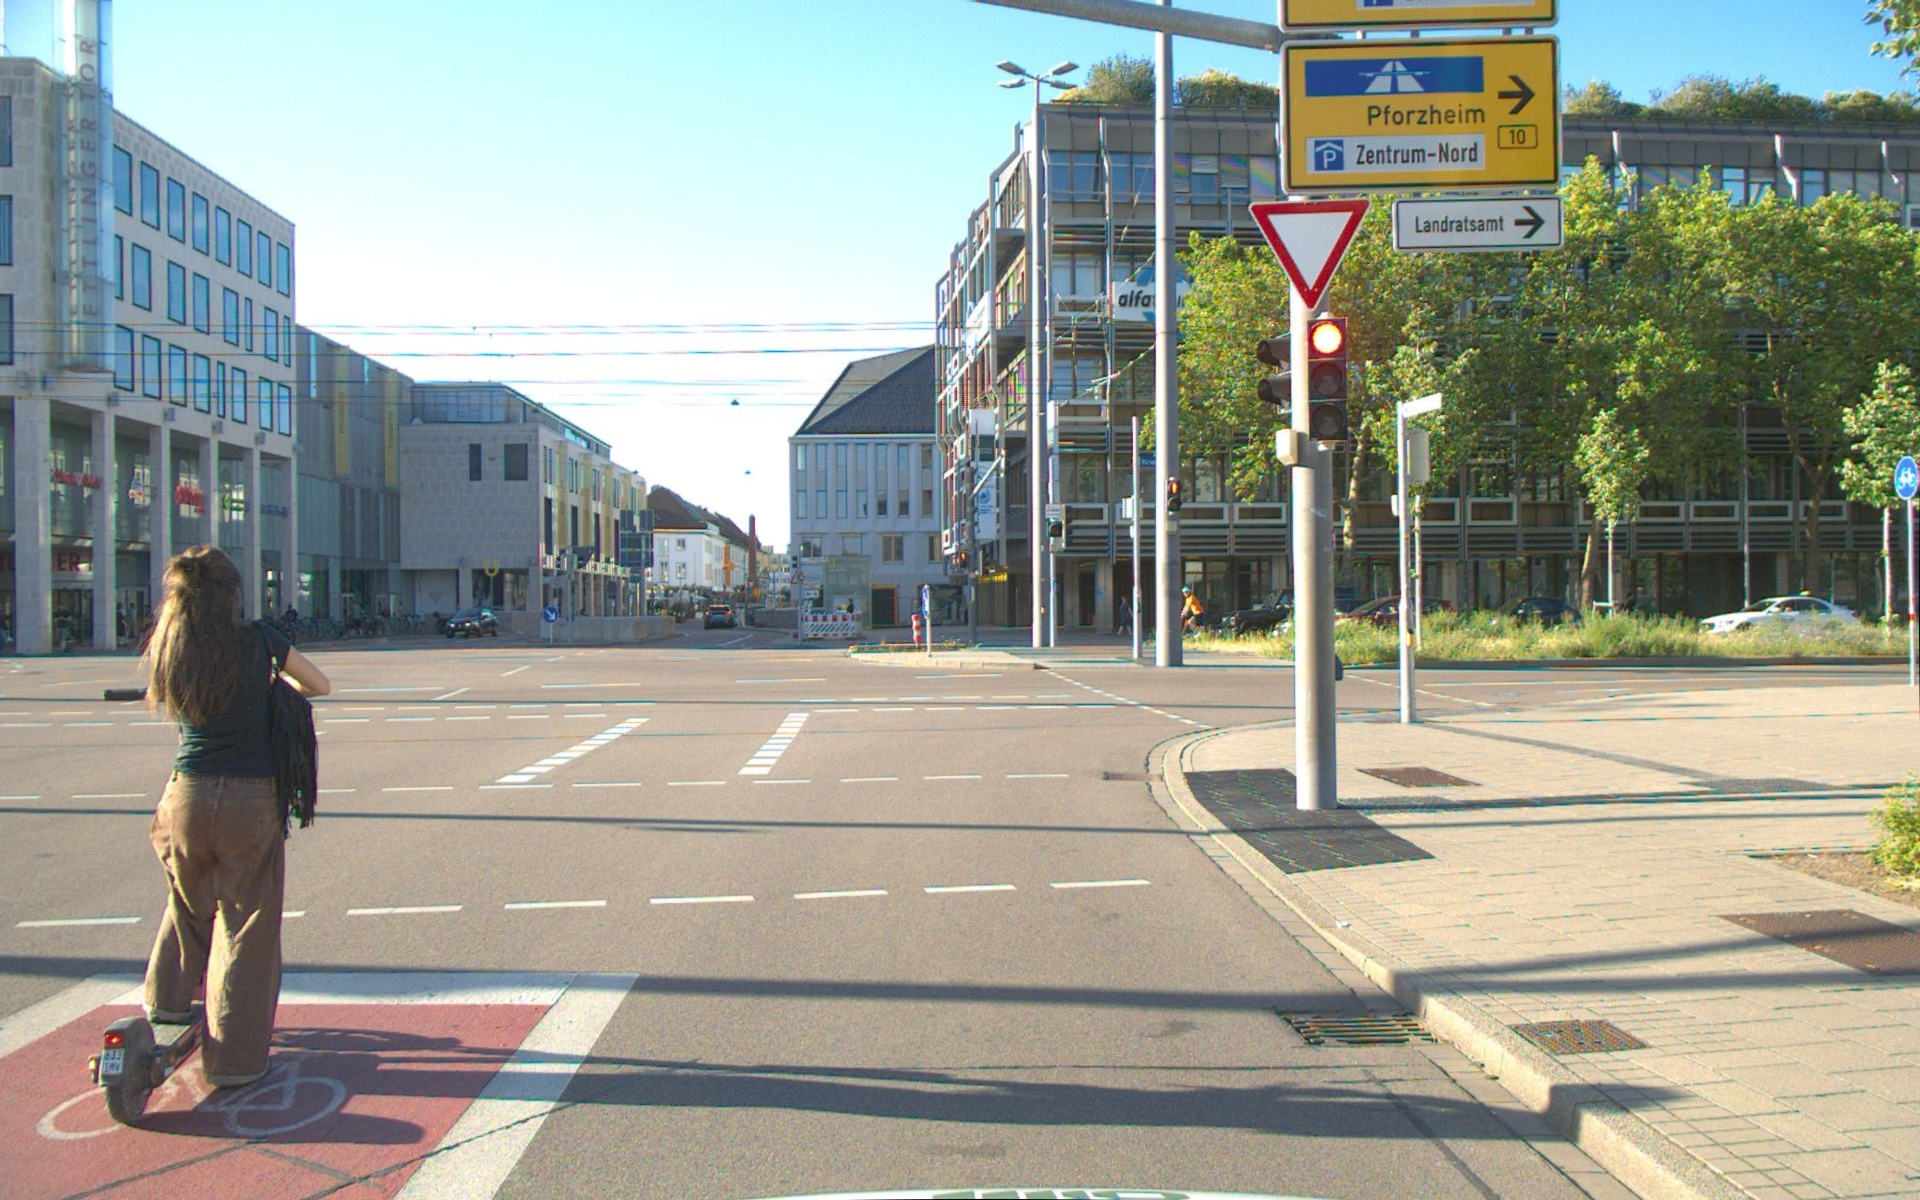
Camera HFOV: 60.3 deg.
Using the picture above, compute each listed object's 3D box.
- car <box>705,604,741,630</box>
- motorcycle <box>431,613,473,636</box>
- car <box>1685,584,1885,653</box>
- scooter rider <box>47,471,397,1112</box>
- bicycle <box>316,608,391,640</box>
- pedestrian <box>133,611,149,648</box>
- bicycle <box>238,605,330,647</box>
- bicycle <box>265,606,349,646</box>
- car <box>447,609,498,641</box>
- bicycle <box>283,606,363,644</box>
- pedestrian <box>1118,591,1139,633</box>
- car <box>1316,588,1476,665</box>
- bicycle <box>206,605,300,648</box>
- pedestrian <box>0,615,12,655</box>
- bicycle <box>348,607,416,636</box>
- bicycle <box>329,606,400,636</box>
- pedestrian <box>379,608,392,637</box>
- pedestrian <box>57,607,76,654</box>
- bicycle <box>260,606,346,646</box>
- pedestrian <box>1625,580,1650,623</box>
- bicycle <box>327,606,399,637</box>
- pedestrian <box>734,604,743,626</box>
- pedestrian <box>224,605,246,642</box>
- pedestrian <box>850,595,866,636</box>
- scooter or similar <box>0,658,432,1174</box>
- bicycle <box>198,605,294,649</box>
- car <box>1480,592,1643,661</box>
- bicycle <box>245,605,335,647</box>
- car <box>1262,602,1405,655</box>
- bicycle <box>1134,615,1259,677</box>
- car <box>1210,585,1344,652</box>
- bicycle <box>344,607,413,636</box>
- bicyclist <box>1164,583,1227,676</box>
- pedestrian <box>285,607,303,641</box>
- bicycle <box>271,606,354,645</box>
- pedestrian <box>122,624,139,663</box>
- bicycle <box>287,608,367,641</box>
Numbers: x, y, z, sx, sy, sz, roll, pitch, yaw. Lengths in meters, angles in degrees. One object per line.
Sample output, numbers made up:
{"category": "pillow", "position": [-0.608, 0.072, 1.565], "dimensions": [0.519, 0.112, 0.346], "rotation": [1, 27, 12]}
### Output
{"category": "car", "position": [-15.498, 1.097, 108.156], "dimensions": [2.157, 1.635, 4.320], "rotation": [-1, 0, -6]}
{"category": "motorcycle", "position": [-29.956, 1.435, 97.587], "dimensions": [2.230, 1.341, 0.719], "rotation": [-1, 0, -6]}
{"category": "car", "position": [26.171, 0.579, 52.569], "dimensions": [5.332, 2.049, 2.096], "rotation": [1, 0, -3]}
{"category": "scooter rider", "position": [-2.220, 0.539, 5.075], "dimensions": [0.713, 1.806, 0.811], "rotation": [0, 0, -1]}
{"category": "bicycle", "position": [-30.886, 1.211, 84.259], "dimensions": [3.430, 1.554, 0.984], "rotation": [-1, 0, -12]}
{"category": "pedestrian", "position": [-34.720, 1.261, 70.116], "dimensions": [0.472, 1.537, 0.513], "rotation": [-1, 0, -5]}
{"category": "bicycle", "position": [-28.869, 1.086, 70.705], "dimensions": [3.427, 1.726, 1.114], "rotation": [-1, 0, -10]}
{"category": "bicycle", "position": [-29.799, 1.176, 75.574], "dimensions": [3.430, 1.726, 0.984], "rotation": [-1, 0, -12]}
{"category": "car", "position": [-24.273, 1.214, 82.416], "dimensions": [1.957, 1.512, 3.991], "rotation": [-1, 0, -10]}
{"category": "bicycle", "position": [-30.338, 1.187, 78.859], "dimensions": [3.430, 1.726, 0.984], "rotation": [-1, 0, -12]}
{"category": "pedestrian", "position": [6.727, 0.481, 66.036], "dimensions": [0.715, 1.687, 0.649], "rotation": [-1, 0, -8]}
{"category": "car", "position": [12.230, 0.733, 46.571], "dimensions": [3.908, 2.049, 1.999], "rotation": [1, 0, -3]}
{"category": "bicycle", "position": [-29.552, 1.090, 69.197], "dimensions": [3.427, 1.726, 1.114], "rotation": [-1, 0, -10]}
{"category": "pedestrian", "position": [-35.349, 1.294, 61.281], "dimensions": [0.383, 1.437, 0.433], "rotation": [-1, 0, -33]}
{"category": "bicycle", "position": [-31.949, 1.197, 91.417], "dimensions": [3.430, 1.554, 0.984], "rotation": [-1, 0, -12]}
{"category": "bicycle", "position": [-31.390, 1.107, 87.237], "dimensions": [3.430, 1.554, 0.984], "rotation": [-1, 0, -12]}
{"category": "pedestrian", "position": [-34.065, 1.340, 98.076], "dimensions": [0.685, 1.671, 0.692], "rotation": [-1, 0, -15]}
{"category": "pedestrian", "position": [-32.482, 1.112, 60.122], "dimensions": [0.535, 1.671, 0.544], "rotation": [-1, 0, -33]}
{"category": "bicycle", "position": [-29.575, 1.167, 74.486], "dimensions": [3.430, 1.726, 0.984], "rotation": [-1, 0, -12]}
{"category": "pedestrian", "position": [27.048, 0.053, 66.015], "dimensions": [0.651, 1.687, 0.740], "rotation": [-1, 0, -8]}
{"category": "bicycle", "position": [-31.074, 1.119, 86.120], "dimensions": [3.430, 1.554, 0.984], "rotation": [-1, 0, -12]}
{"category": "pedestrian", "position": [-14.429, 0.979, 107.687], "dimensions": [0.598, 1.436, 0.569], "rotation": [-1, 0, -7]}
{"category": "pedestrian", "position": [-32.995, 1.053, 75.282], "dimensions": [0.770, 1.671, 0.693], "rotation": [-1, 0, -12]}
{"category": "pedestrian", "position": [-4.271, 0.637, 69.140], "dimensions": [0.650, 1.687, 0.755], "rotation": [-1, 0, -4]}
{"category": "scooter or similar", "position": [-2.201, 0.818, 4.966], "dimensions": [0.713, 1.223, 1.664], "rotation": [0, 0, -1]}
{"category": "bicycle", "position": [-29.323, 1.112, 68.025], "dimensions": [3.427, 1.726, 1.114], "rotation": [-1, 0, -10]}
{"category": "car", "position": [18.826, 0.821, 51.873], "dimensions": [4.359, 2.049, 1.998], "rotation": [1, 0, -6]}
{"category": "bicycle", "position": [-29.100, 1.122, 71.917], "dimensions": [3.427, 1.726, 1.114], "rotation": [-1, 0, -10]}
{"category": "car", "position": [11.438, 0.864, 50.809], "dimensions": [3.908, 1.534, 1.867], "rotation": [1, 0, -4]}
{"category": "bicycle", "position": [6.747, 1.301, 47.216], "dimensions": [3.427, 1.688, 0.929], "rotation": [-1, 0, -10]}
{"category": "car", "position": [10.303, 0.598, 53.912], "dimensions": [3.908, 2.049, 1.999], "rotation": [1, 0, -3]}
{"category": "bicycle", "position": [-31.785, 1.167, 90.393], "dimensions": [3.430, 1.554, 0.984], "rotation": [-1, 0, -12]}
{"category": "bicyclist", "position": [6.717, 0.832, 47.216], "dimensions": [1.539, 2.625, 0.930], "rotation": [-1, 0, -10]}
{"category": "pedestrian", "position": [-33.191, 1.183, 82.424], "dimensions": [0.641, 1.671, 0.693], "rotation": [-1, 0, -9]}
{"category": "bicycle", "position": [-30.040, 1.178, 76.774], "dimensions": [3.430, 1.726, 0.984], "rotation": [-1, 0, -12]}
{"category": "pedestrian", "position": [-34.873, 1.818, 69.534], "dimensions": [0.472, 1.613, 0.513], "rotation": [-1, 0, -5]}
{"category": "bicycle", "position": [-30.543, 1.170, 79.849], "dimensions": [3.430, 1.554, 0.984], "rotation": [-1, 0, -12]}
